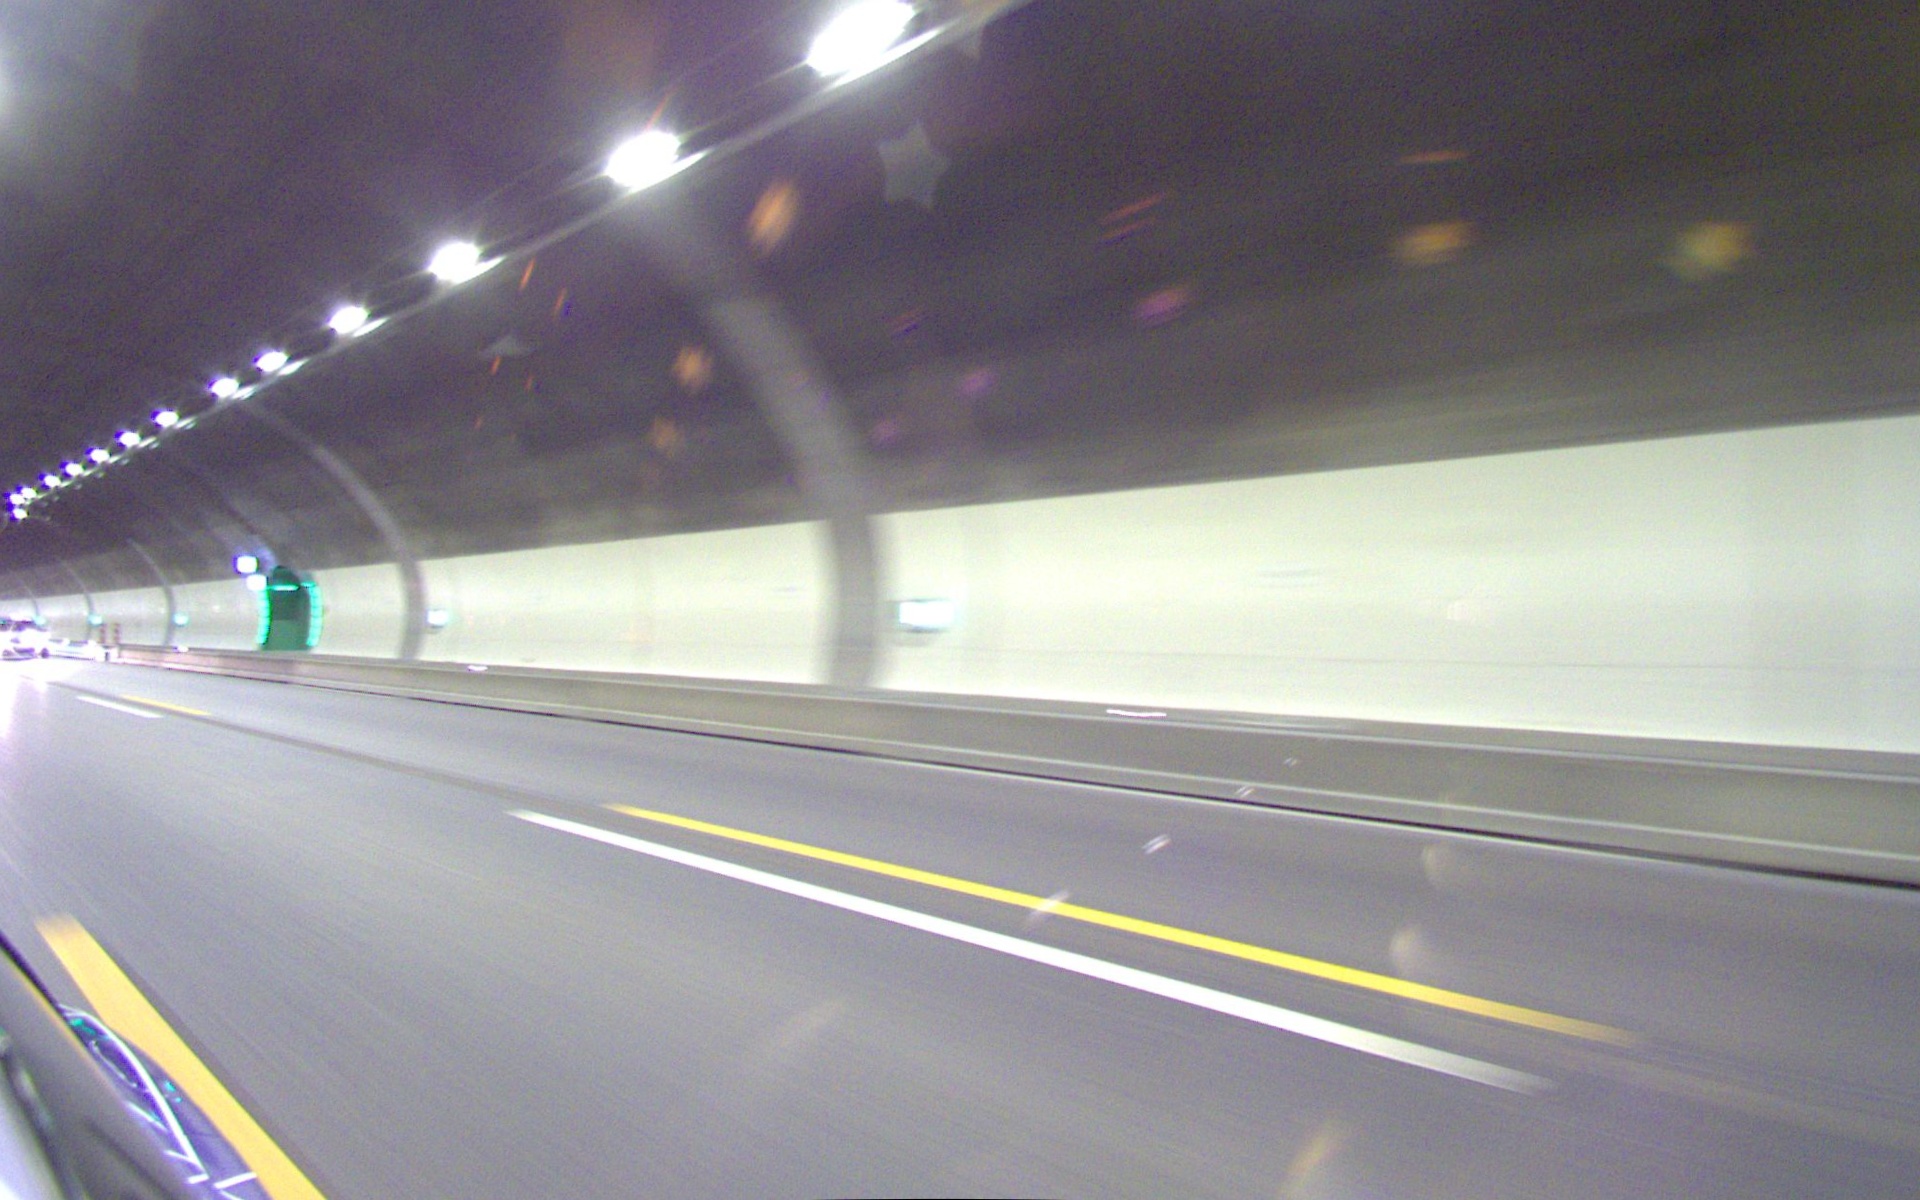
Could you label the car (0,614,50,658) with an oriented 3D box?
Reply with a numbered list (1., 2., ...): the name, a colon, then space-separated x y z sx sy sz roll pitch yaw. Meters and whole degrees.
1. car: -35.922 1.326 38.281 4.096 1.584 1.743 -1 0 41
